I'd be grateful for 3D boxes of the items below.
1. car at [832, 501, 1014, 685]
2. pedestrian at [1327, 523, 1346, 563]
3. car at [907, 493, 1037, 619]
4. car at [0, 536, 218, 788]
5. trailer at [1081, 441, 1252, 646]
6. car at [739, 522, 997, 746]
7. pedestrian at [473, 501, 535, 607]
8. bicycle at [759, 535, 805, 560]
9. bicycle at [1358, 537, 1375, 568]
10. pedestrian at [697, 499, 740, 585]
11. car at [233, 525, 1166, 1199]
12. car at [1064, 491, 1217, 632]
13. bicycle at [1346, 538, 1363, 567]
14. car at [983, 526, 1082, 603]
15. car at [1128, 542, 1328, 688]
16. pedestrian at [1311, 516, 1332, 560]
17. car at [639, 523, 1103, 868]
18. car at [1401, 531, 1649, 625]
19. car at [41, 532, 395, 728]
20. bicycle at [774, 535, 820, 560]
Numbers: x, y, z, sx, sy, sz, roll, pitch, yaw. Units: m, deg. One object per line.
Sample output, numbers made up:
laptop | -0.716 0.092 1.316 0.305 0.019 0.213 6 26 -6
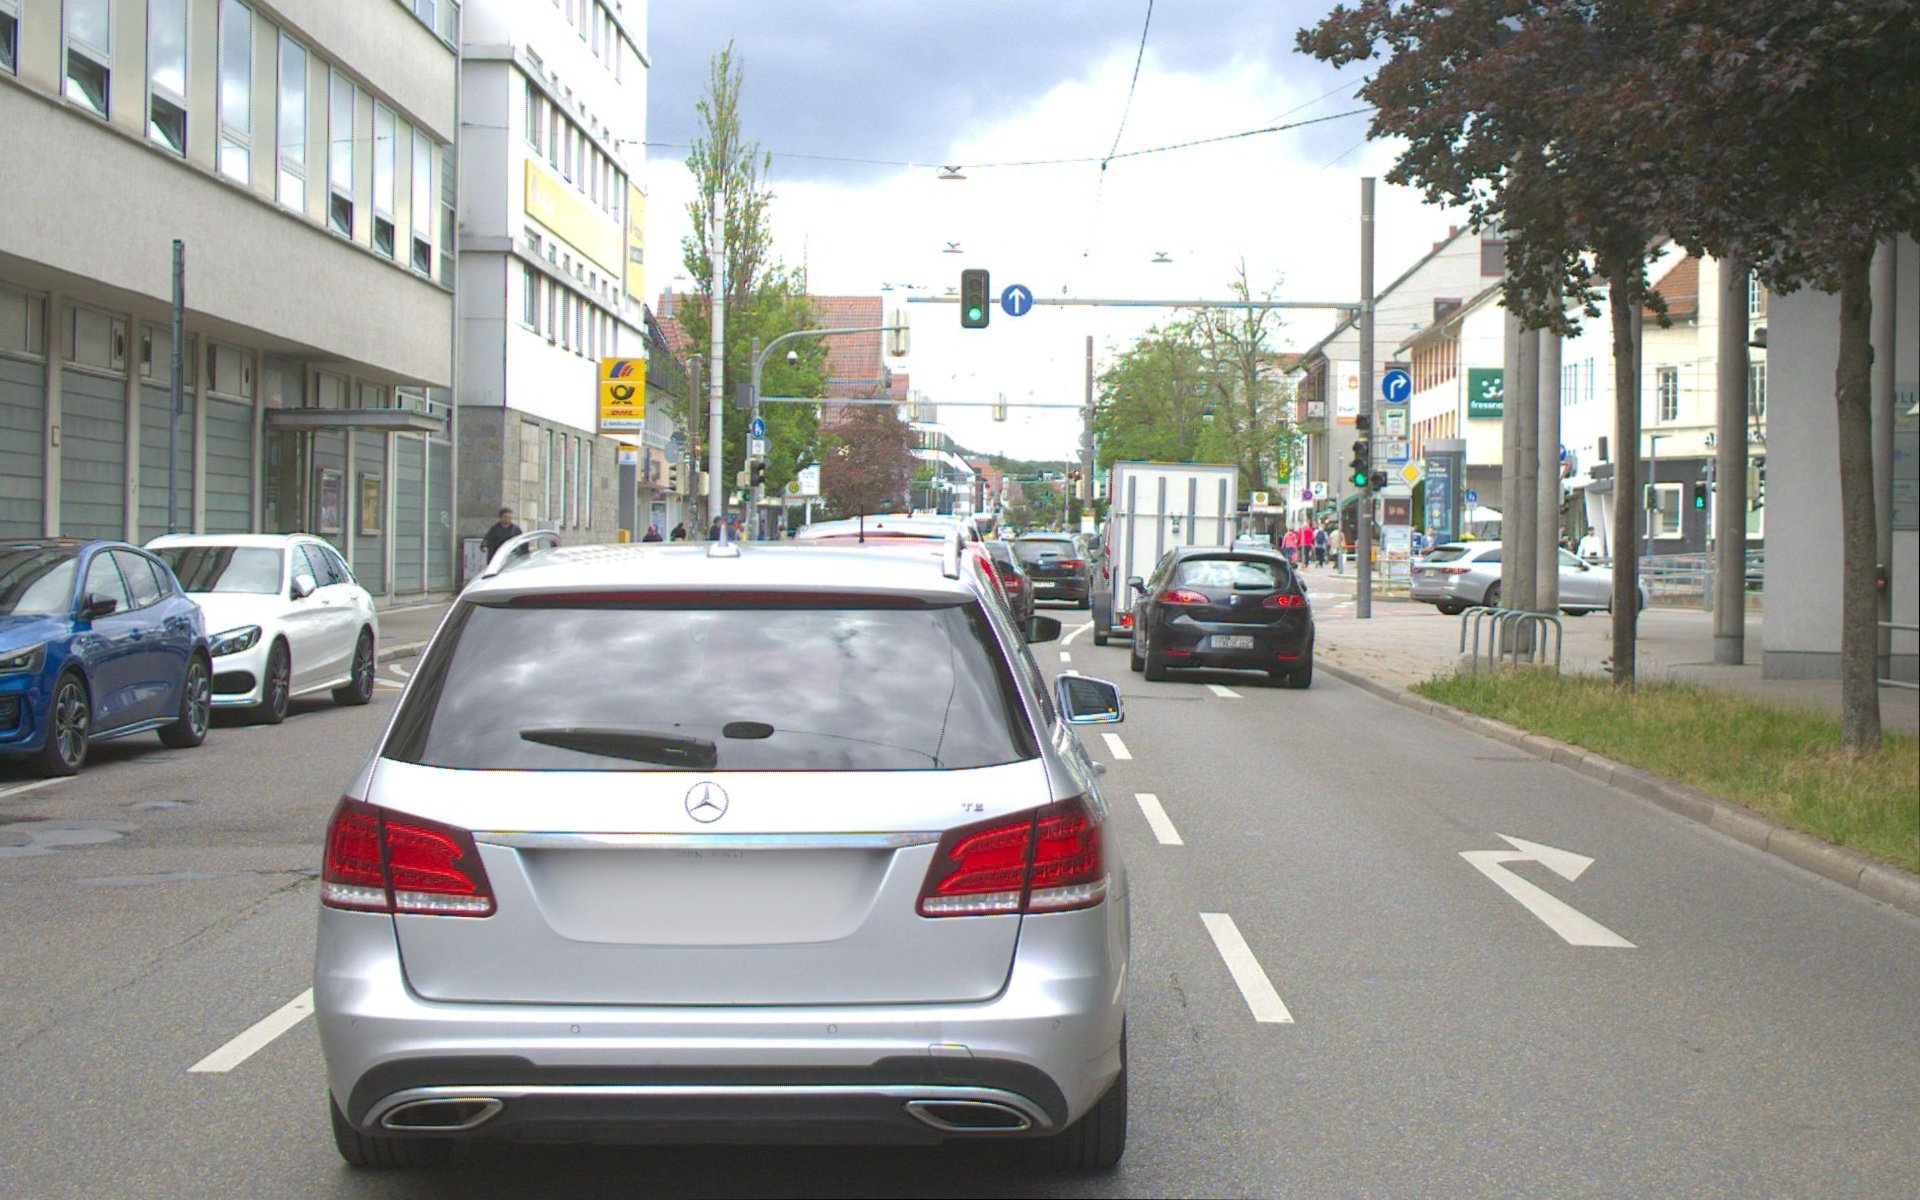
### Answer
car | -0.393 -0.109 34.950 1.734 1.753 4.000 0 1 -1
pedestrian | 14.078 -2.124 128.542 0.578 1.464 0.651 2 1 -2
car | 0.145 -0.672 50.894 1.828 1.779 4.000 1 1 -1
car | -6.187 0.326 21.852 1.815 1.421 4.264 -1 1 3
trailer | 2.799 -0.793 47.466 1.877 2.604 4.323 3 1 -1
car | -0.658 0.185 25.277 1.734 1.503 4.000 0 1 -1
pedestrian | -7.580 -0.775 57.199 0.861 1.712 1.032 2 1 -1
bicycle | -7.763 -2.294 149.859 1.937 1.025 0.530 2 1 -8
bicycle | 15.045 -1.765 127.218 0.448 1.103 2.149 1 1 2
pedestrian | -4.900 -1.182 69.775 0.648 1.712 0.782 2 1 8
car | -0.558 0.565 8.930 1.845 1.503 4.171 0 1 -1
car | 2.683 -0.614 52.094 1.877 1.939 4.907 3 1 -1
bicycle | 14.596 -1.762 127.231 0.448 1.087 2.149 1 1 2
car | 1.368 -0.704 66.377 1.734 1.406 4.001 0 2 -1
car | 2.793 0.118 36.556 1.734 1.406 4.001 0 2 -1
pedestrian | 13.855 -2.369 131.790 0.578 1.660 0.651 2 1 -8
car | -0.318 0.379 17.228 1.735 1.503 3.999 1 1 7
car | 11.107 -0.434 67.593 4.544 1.600 1.740 3 1 -25
car | -5.903 0.180 27.878 1.670 1.429 4.552 -1 1 3
bicycle | -7.266 -2.340 153.172 1.937 1.025 0.530 2 1 -8
